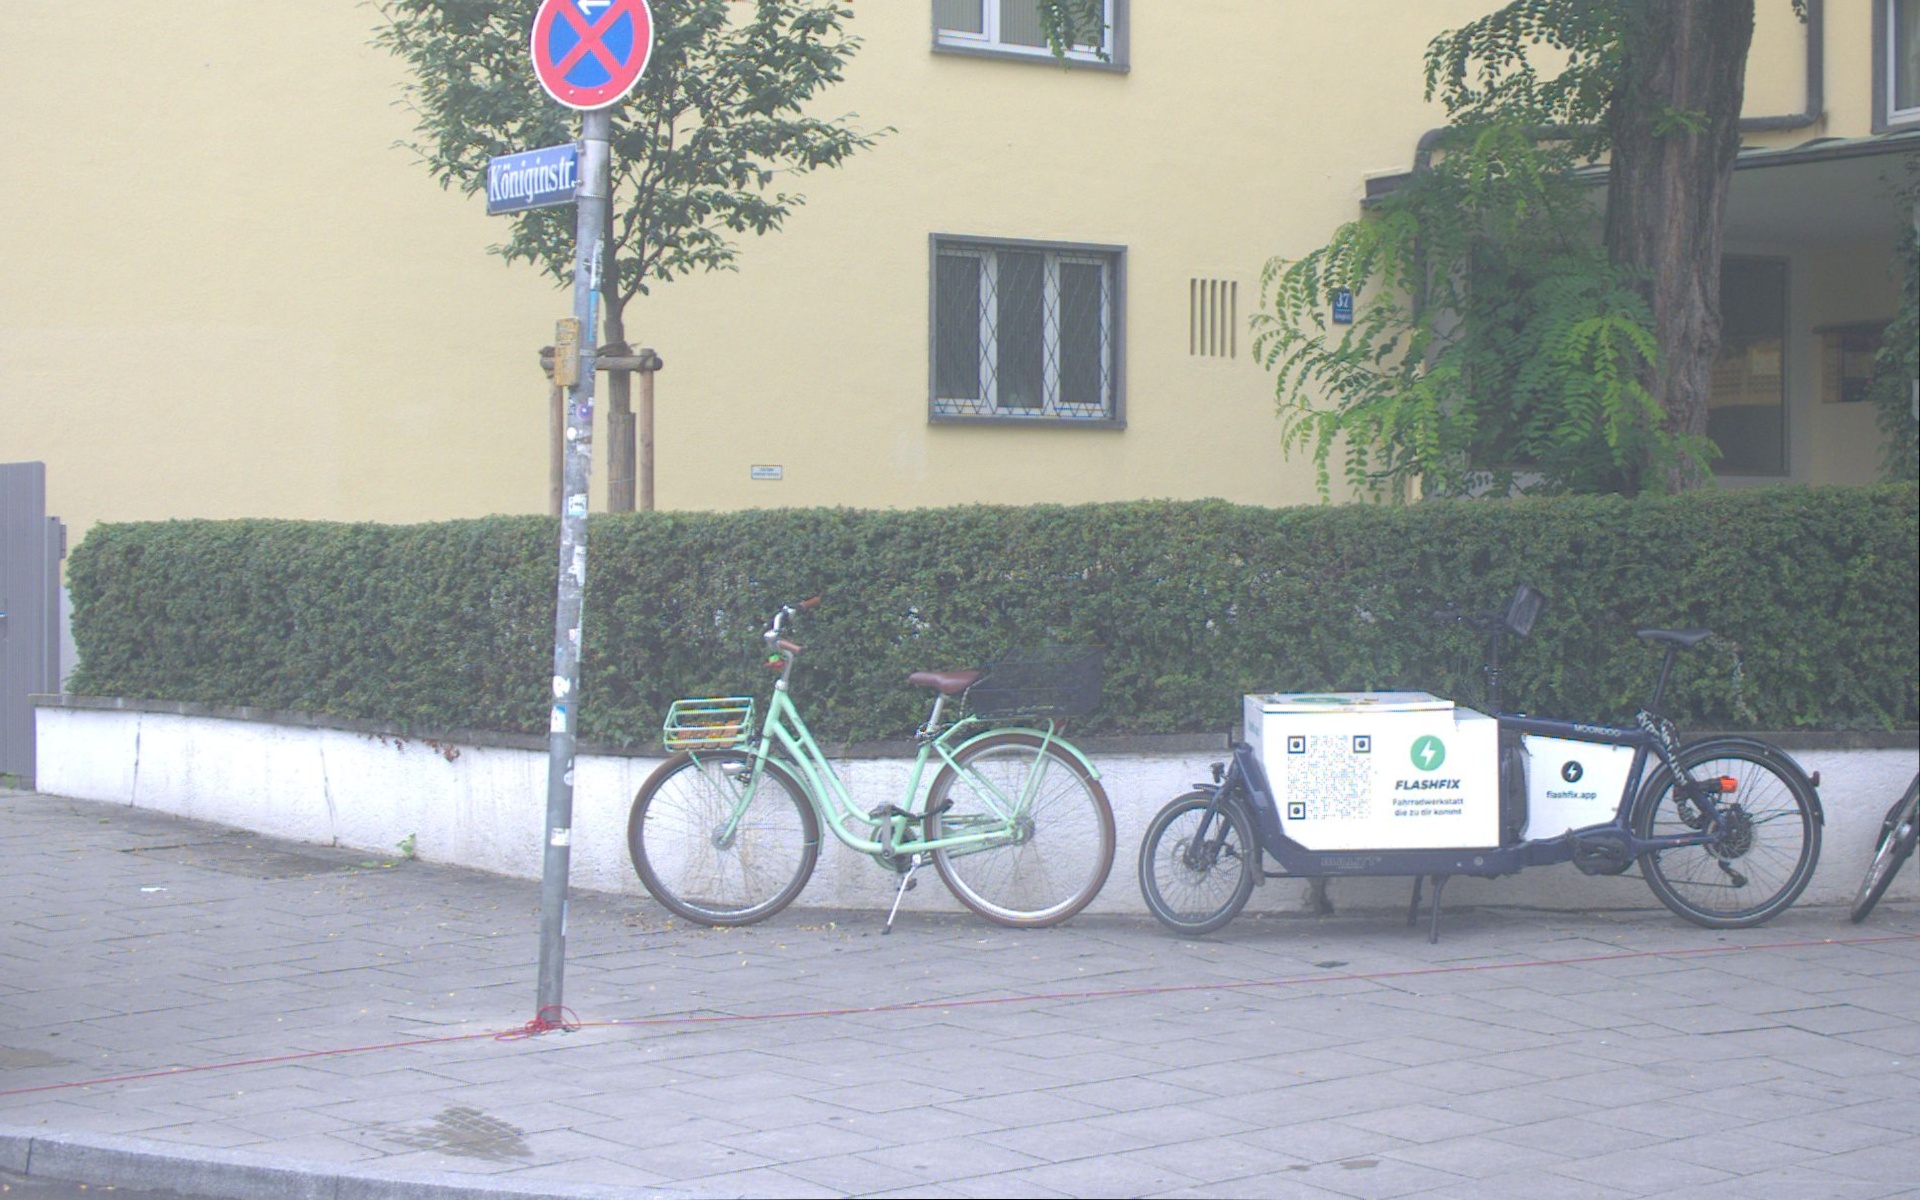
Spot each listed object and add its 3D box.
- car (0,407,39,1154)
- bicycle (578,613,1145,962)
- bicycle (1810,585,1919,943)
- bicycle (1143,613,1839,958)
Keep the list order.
[{"bbox_3d":[-4.606,0.442,10.364,1.930,1.994,4.419,0,1,-38],"label":"car"},{"bbox_3d":[-0.364,0.638,12.301,1.948,1.152,0.582,0,3,26],"label":"bicycle"},{"bbox_3d":[4.007,0.554,12.357,1.847,1.206,0.564,-1,2,-21],"label":"bicycle"},{"bbox_3d":[1.792,0.623,11.803,2.290,1.122,0.583,0,3,0],"label":"bicycle"}]
